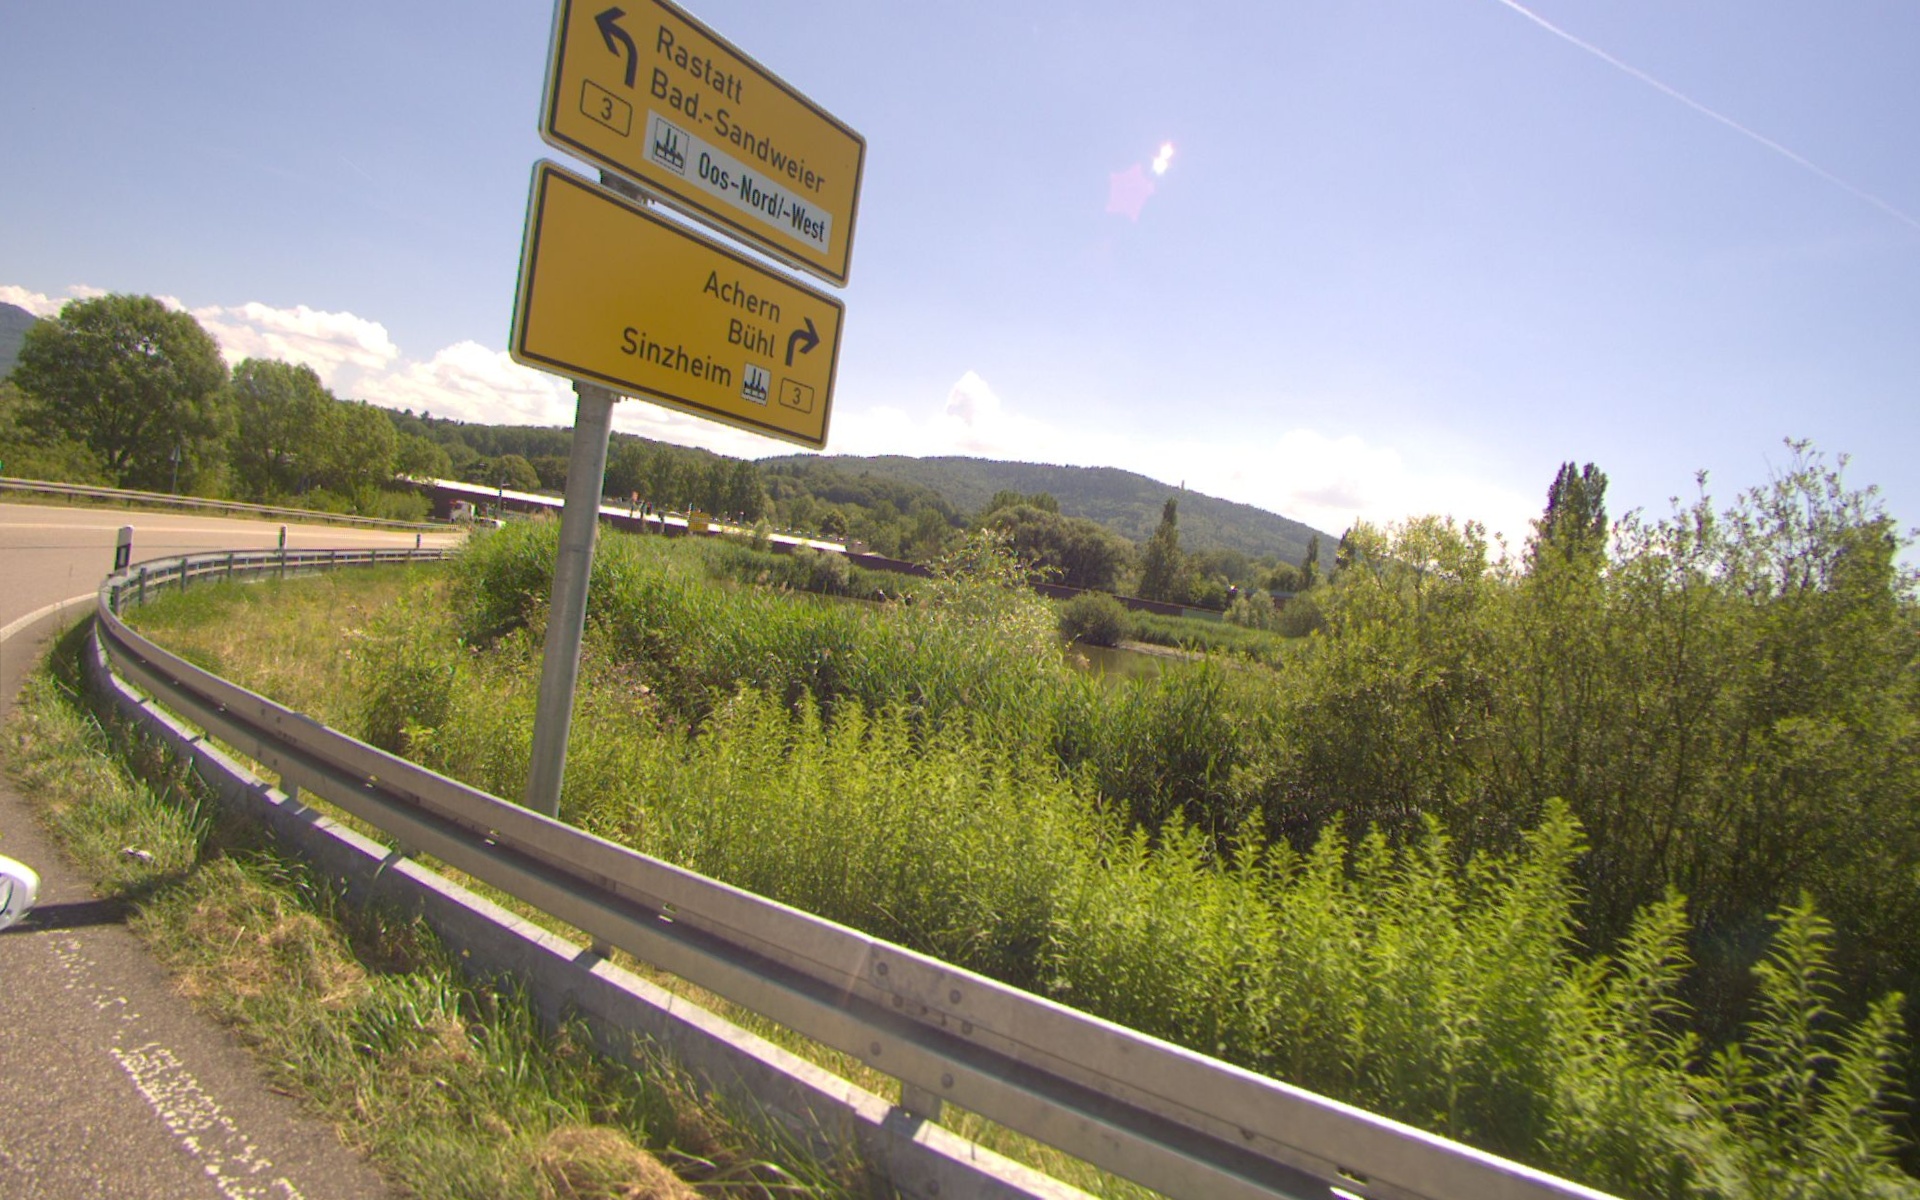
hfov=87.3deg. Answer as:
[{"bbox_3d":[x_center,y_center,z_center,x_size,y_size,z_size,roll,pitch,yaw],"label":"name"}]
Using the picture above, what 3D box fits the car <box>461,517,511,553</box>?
[{"bbox_3d":[-31.873,-4.331,67.789,1.846,1.989,3.990,9,1,-10],"label":"car"}]
